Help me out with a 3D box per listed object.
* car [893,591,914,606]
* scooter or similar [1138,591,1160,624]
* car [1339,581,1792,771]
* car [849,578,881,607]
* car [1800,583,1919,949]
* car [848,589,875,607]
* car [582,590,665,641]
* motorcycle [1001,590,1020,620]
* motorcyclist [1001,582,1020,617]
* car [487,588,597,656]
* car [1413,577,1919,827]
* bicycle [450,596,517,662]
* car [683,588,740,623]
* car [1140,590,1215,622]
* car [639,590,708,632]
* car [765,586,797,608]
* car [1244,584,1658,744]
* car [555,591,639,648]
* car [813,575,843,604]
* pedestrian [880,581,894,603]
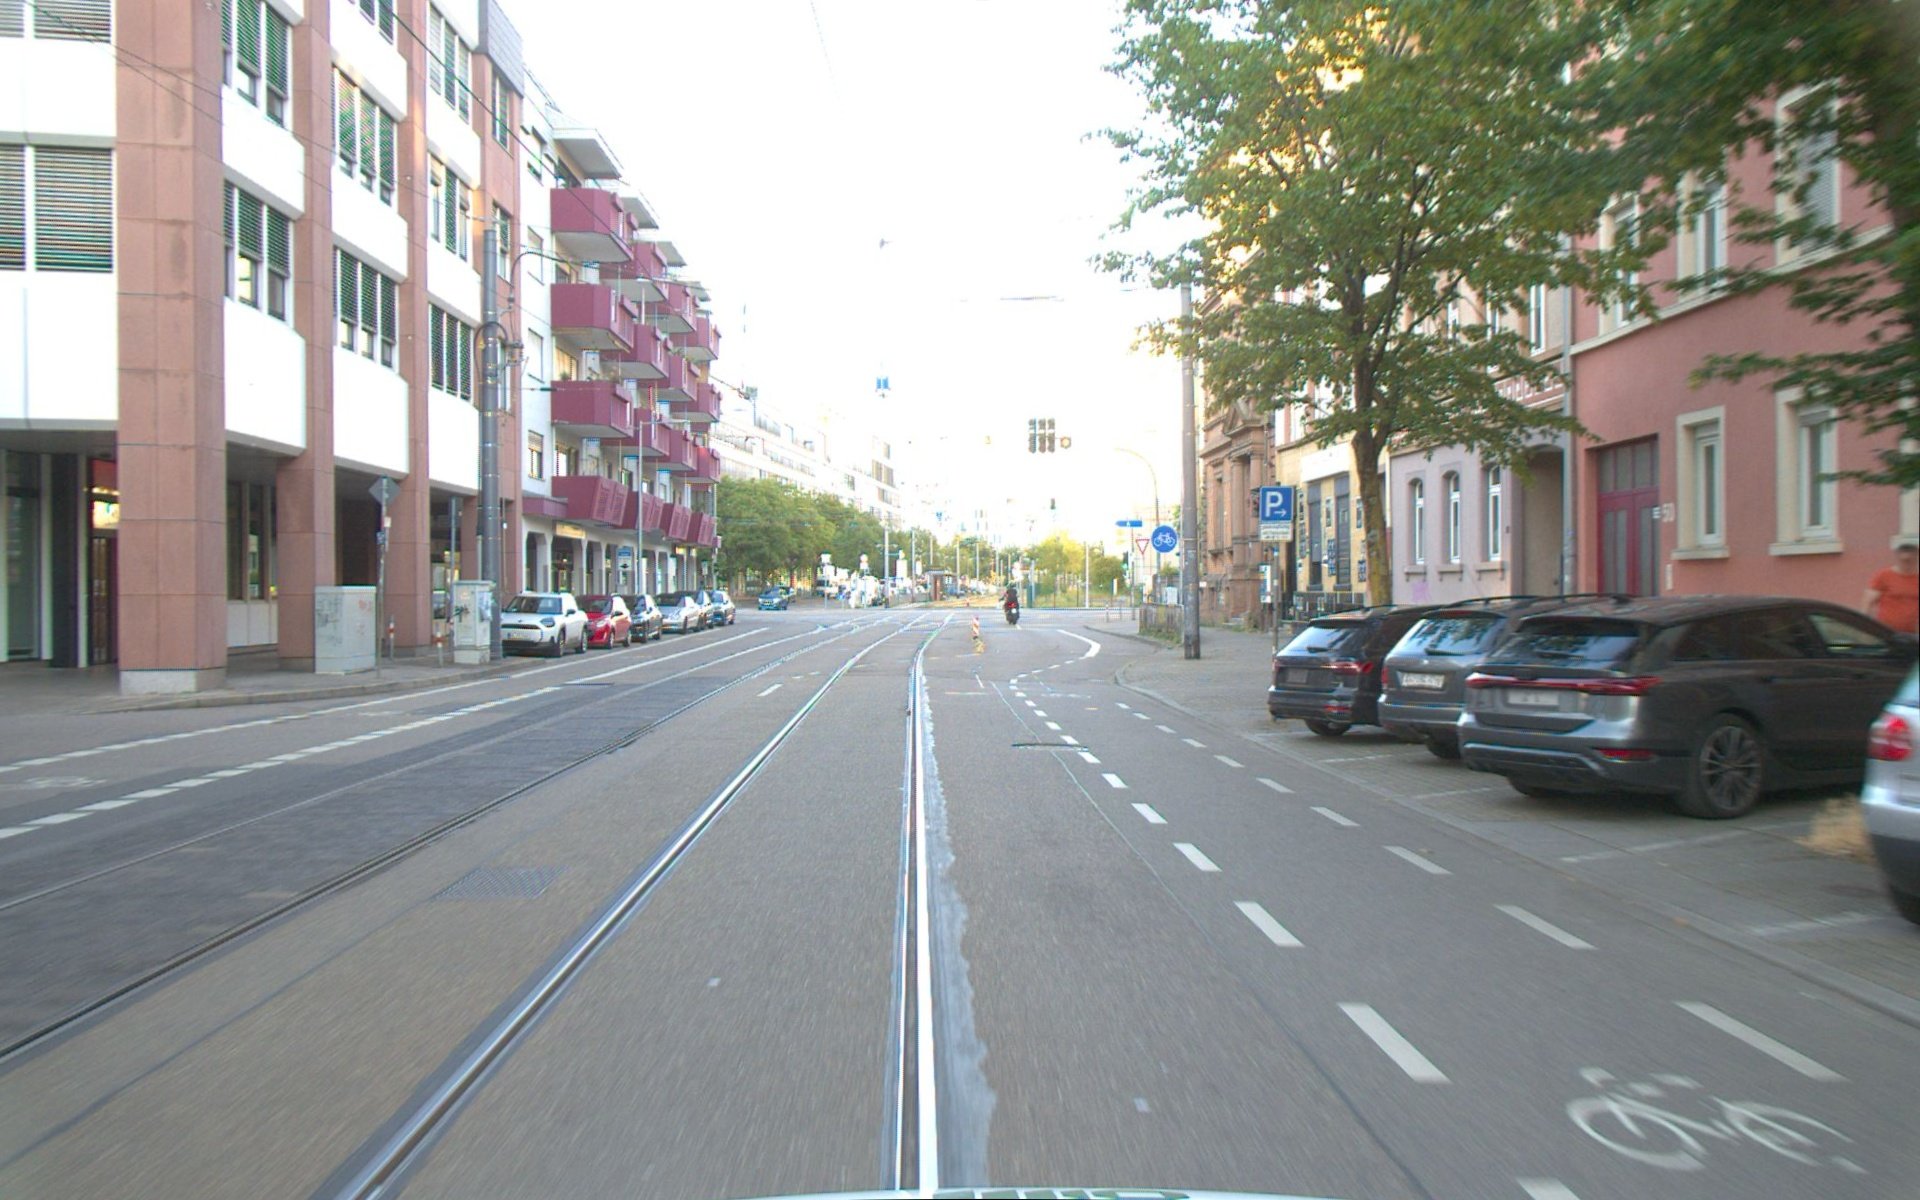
[{"bbox_3d":[-5.774,-0.129,168.813,1.647,1.464,4.129,0,0,6],"label":"car"},{"bbox_3d":[7.380,0.286,64.733,0.628,1.288,1.582,-2,0,0],"label":"scooter or similar"},{"bbox_3d":[5.769,0.659,15.734,3.939,1.518,1.815,-2,-1,-26],"label":"car"},{"bbox_3d":[-8.560,-0.715,149.447,2.410,2.526,5.810,0,0,2],"label":"car"},{"bbox_3d":[5.761,0.665,7.527,3.513,1.543,1.728,-2,0,-27],"label":"car"},{"bbox_3d":[-8.545,-0.189,143.762,1.647,1.464,4.129,0,0,6],"label":"car"},{"bbox_3d":[-10.647,0.461,52.645,1.954,1.505,4.479,2,0,-4],"label":"car"},{"bbox_3d":[2.187,0.215,71.337,0.811,1.261,2.492,0,0,3],"label":"motorcycle"},{"bbox_3d":[2.191,-0.014,71.497,0.811,1.499,1.207,0,0,3],"label":"motorcyclist"},{"bbox_3d":[-10.299,0.508,41.043,1.682,1.583,4.203,1,0,-1],"label":"car"},{"bbox_3d":[5.857,0.640,12.565,4.387,1.543,2.047,-2,0,-25],"label":"car"},{"bbox_3d":[-10.434,0.616,36.326,0.595,1.402,2.260,0,0,6],"label":"bicycle"},{"bbox_3d":[-10.894,0.226,72.841,1.814,1.482,5.085,0,0,-1],"label":"car"},{"bbox_3d":[11.063,0.291,83.953,1.692,1.583,4.178,1,1,42],"label":"car"},{"bbox_3d":[-10.528,0.377,61.048,1.656,1.438,4.677,2,0,1],"label":"car"},{"bbox_3d":[-14.453,-0.245,133.624,1.647,1.729,4.242,0,0,7],"label":"car"},{"bbox_3d":[5.580,0.645,18.674,4.549,1.482,1.696,-2,1,-27],"label":"car"},{"bbox_3d":[-10.261,0.539,46.955,1.578,1.505,3.479,2,0,0],"label":"car"},{"bbox_3d":[-14.779,-1.226,185.725,2.154,3.207,6.147,0,0,6],"label":"car"},{"bbox_3d":[-6.647,-0.734,150.361,1.025,2.066,0.978,0,0,-22],"label":"pedestrian"}]
